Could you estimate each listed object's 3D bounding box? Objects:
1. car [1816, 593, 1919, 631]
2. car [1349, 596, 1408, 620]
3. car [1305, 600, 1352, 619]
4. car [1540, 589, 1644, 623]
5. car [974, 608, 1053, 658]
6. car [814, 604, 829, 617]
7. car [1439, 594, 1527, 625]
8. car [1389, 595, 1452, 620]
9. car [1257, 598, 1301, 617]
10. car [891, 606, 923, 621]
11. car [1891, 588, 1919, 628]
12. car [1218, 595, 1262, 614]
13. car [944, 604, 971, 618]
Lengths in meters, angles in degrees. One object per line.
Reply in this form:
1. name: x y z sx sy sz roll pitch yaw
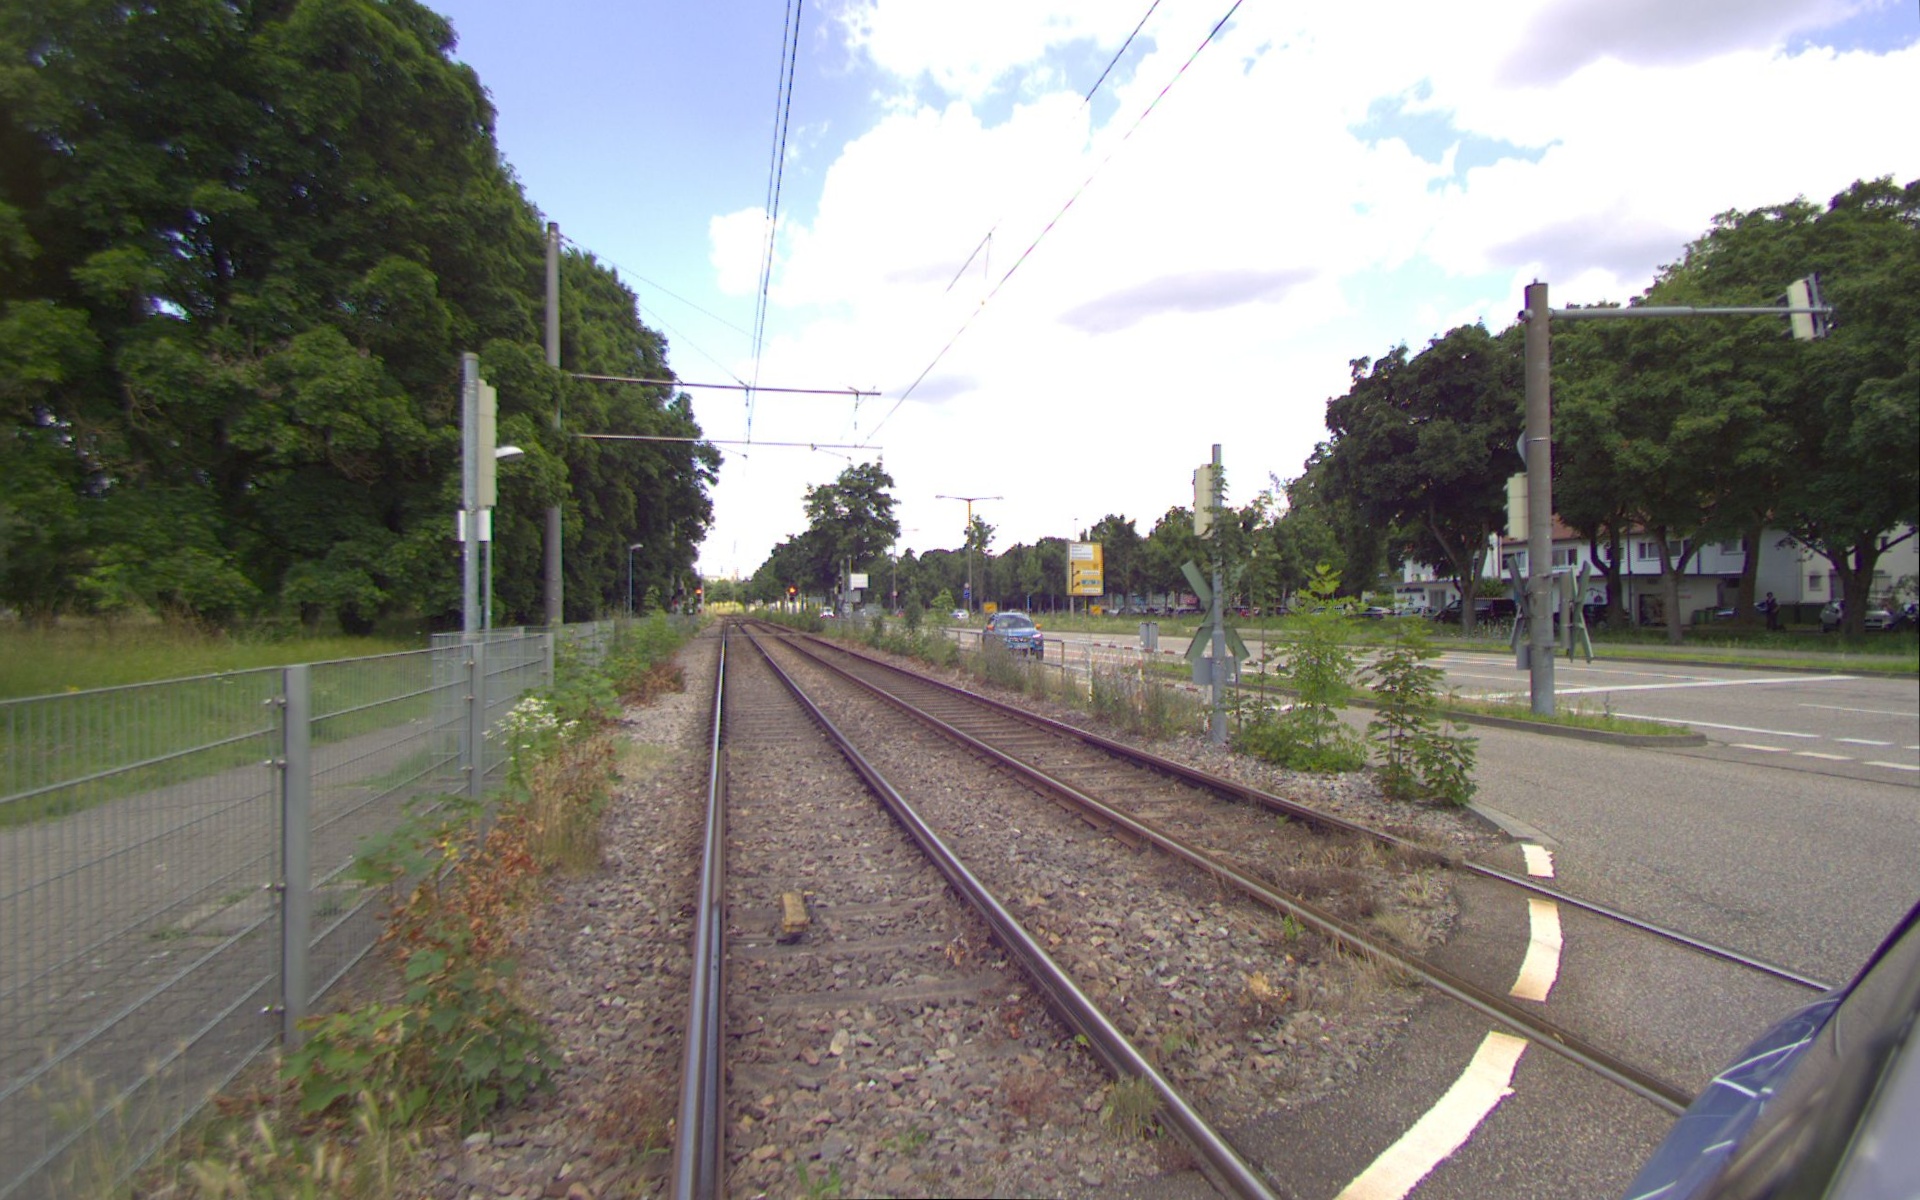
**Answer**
1. car: 38.010 0.517 42.495 1.977 1.503 3.991 -1 -1 23
2. car: 28.786 0.565 69.662 1.727 1.608 4.030 0 -1 -12
3. car: 27.281 0.699 74.983 1.593 1.348 3.482 0 -1 -12
4. car: 33.183 0.340 53.272 1.775 1.678 4.371 -2 0 -23
5. car: 1.625 0.998 32.101 1.572 1.483 3.709 0 -1 -12
6. car: -18.339 1.401 134.027 1.692 1.634 4.007 0 -1 -12
7. car: 30.887 0.548 59.915 1.849 1.733 4.937 0 -1 -12
8. car: 29.805 0.502 65.583 1.883 1.608 3.672 0 -1 -12
9. car: 25.670 0.607 81.507 1.695 1.429 3.872 0 -1 -12
10. car: -7.205 1.849 137.224 3.916 2.039 2.004 0 -1 -15
11. car: 40.432 0.324 41.554 1.977 1.608 3.991 -1 -1 23
12. car: 24.246 0.387 87.737 1.958 1.608 4.030 0 -1 -12
13. car: -0.272 1.145 107.019 1.768 1.450 4.504 0 -1 -15
